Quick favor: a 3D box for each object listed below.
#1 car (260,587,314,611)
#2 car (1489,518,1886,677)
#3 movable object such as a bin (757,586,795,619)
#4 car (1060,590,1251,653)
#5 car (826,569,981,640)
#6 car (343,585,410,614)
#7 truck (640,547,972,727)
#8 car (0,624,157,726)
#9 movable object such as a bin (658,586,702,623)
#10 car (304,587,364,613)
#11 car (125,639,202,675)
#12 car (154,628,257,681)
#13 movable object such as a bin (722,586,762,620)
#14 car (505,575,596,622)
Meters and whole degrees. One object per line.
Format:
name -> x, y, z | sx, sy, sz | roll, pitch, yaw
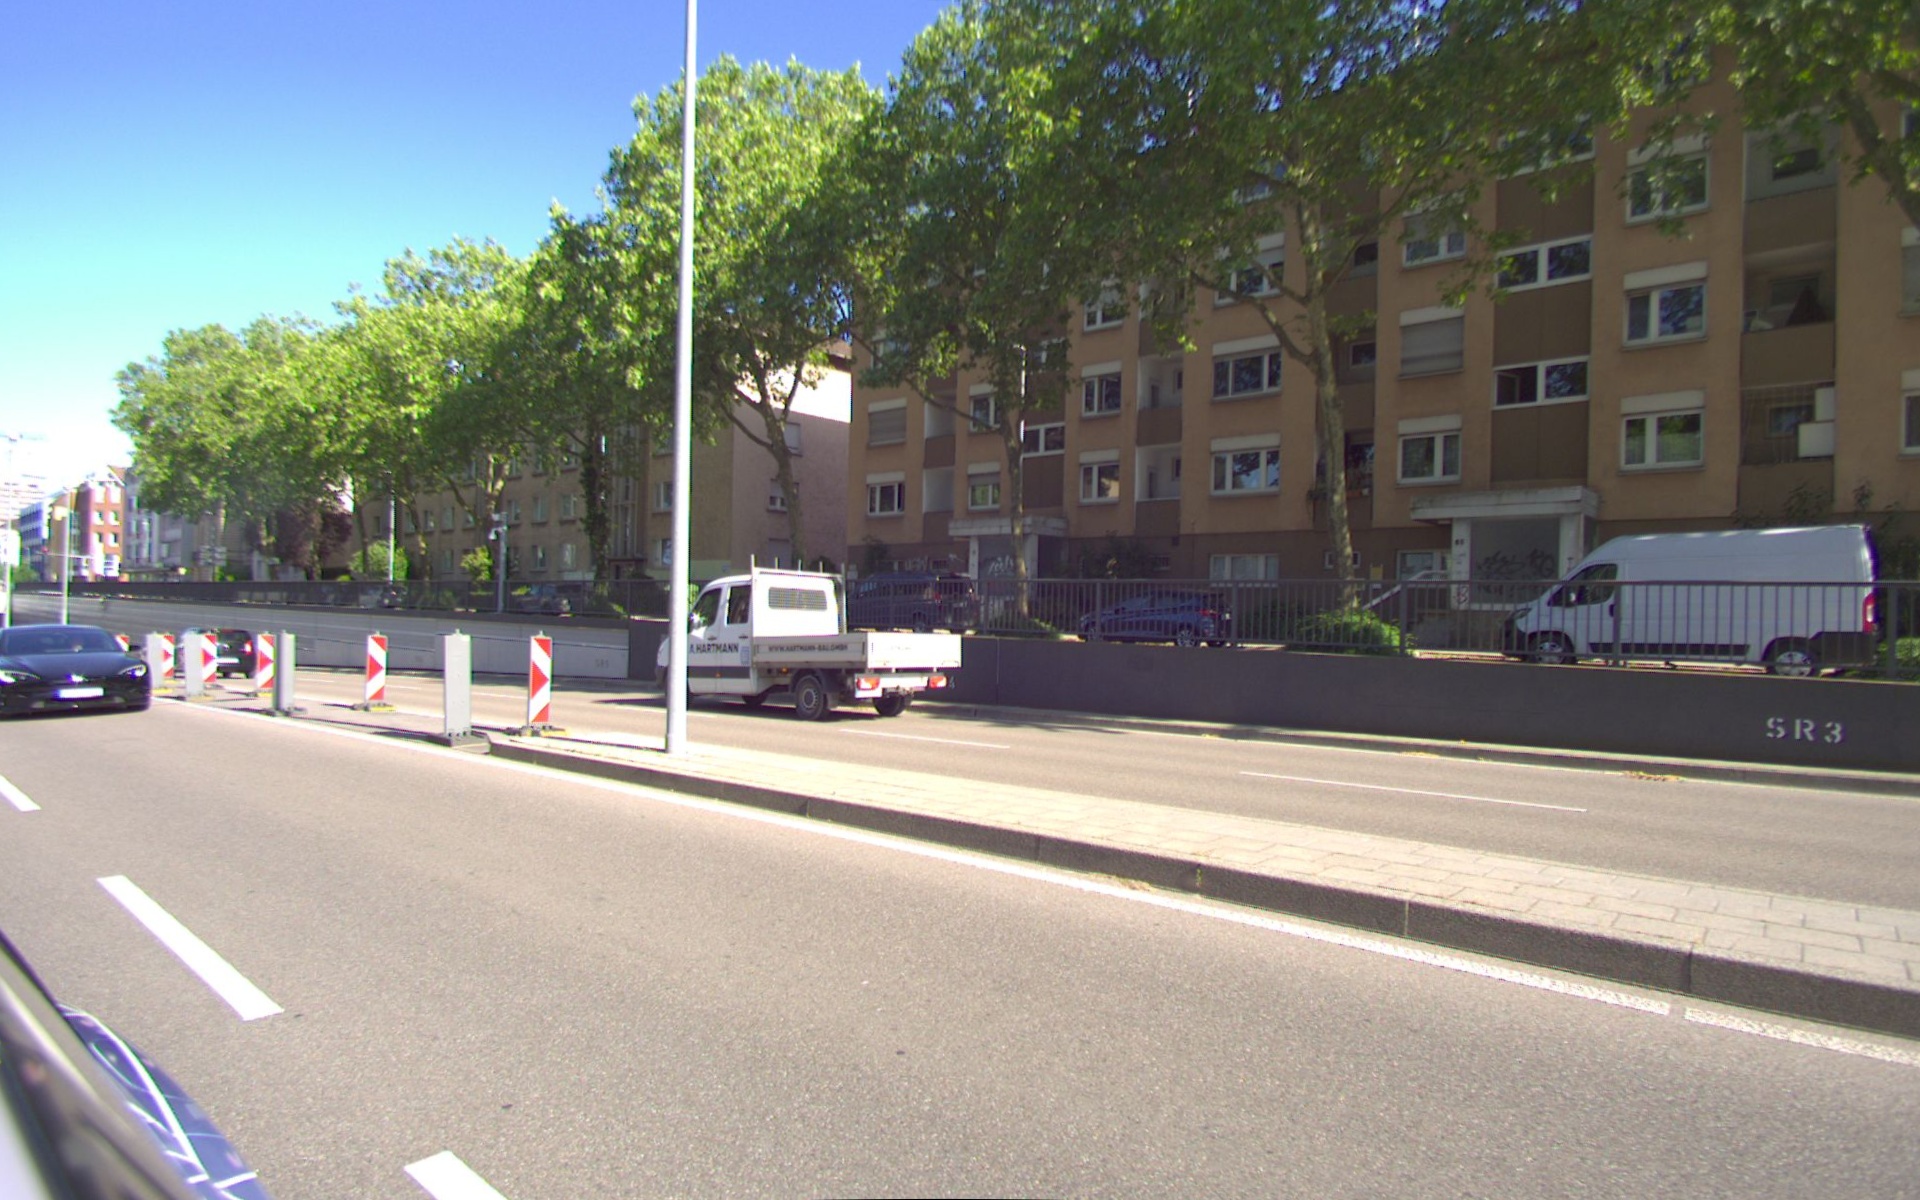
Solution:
car -> -46.346, -0.048, 69.635 | 4.300, 1.596, 1.902 | 0, 0, 39
car -> 12.512, -0.032, 17.735 | 5.418, 2.377, 1.972 | 0, 0, 42
movable object such as a bin -> -8.446, 0.109, 46.473 | 1.146, 1.495, 1.301 | 0, 0, 38
car -> 4.732, 0.482, 24.789 | 4.170, 1.399, 1.973 | 0, 0, 41
car -> -1.754, 0.132, 30.345 | 4.523, 1.975, 1.946 | 0, 0, 39
car -> -33.263, -0.017, 57.639 | 4.300, 1.596, 1.902 | 0, 0, 39
truck -> -2.808, 0.650, 17.195 | 6.127, 2.547, 2.205 | -2, -4, 42
car -> -14.814, 1.149, 16.518 | 3.998, 1.426, 1.973 | -2, -1, 41
movable object such as a bin -> -11.679, 0.172, 42.204 | 1.354, 1.495, 1.196 | 0, 0, 33
car -> -39.148, -0.009, 63.281 | 4.300, 1.596, 1.902 | 0, 0, 39
car -> -30.543, 2.187, 38.772 | 3.925, 1.310, 1.523 | -2, -5, 40
car -> -22.173, 1.608, 29.703 | 3.606, 1.469, 1.592 | -2, -5, 40
movable object such as a bin -> -9.749, 0.139, 45.297 | 1.146, 1.495, 1.301 | 0, 0, 38
car -> -18.171, -0.062, 44.858 | 4.412, 1.975, 1.945 | 0, 0, 41
